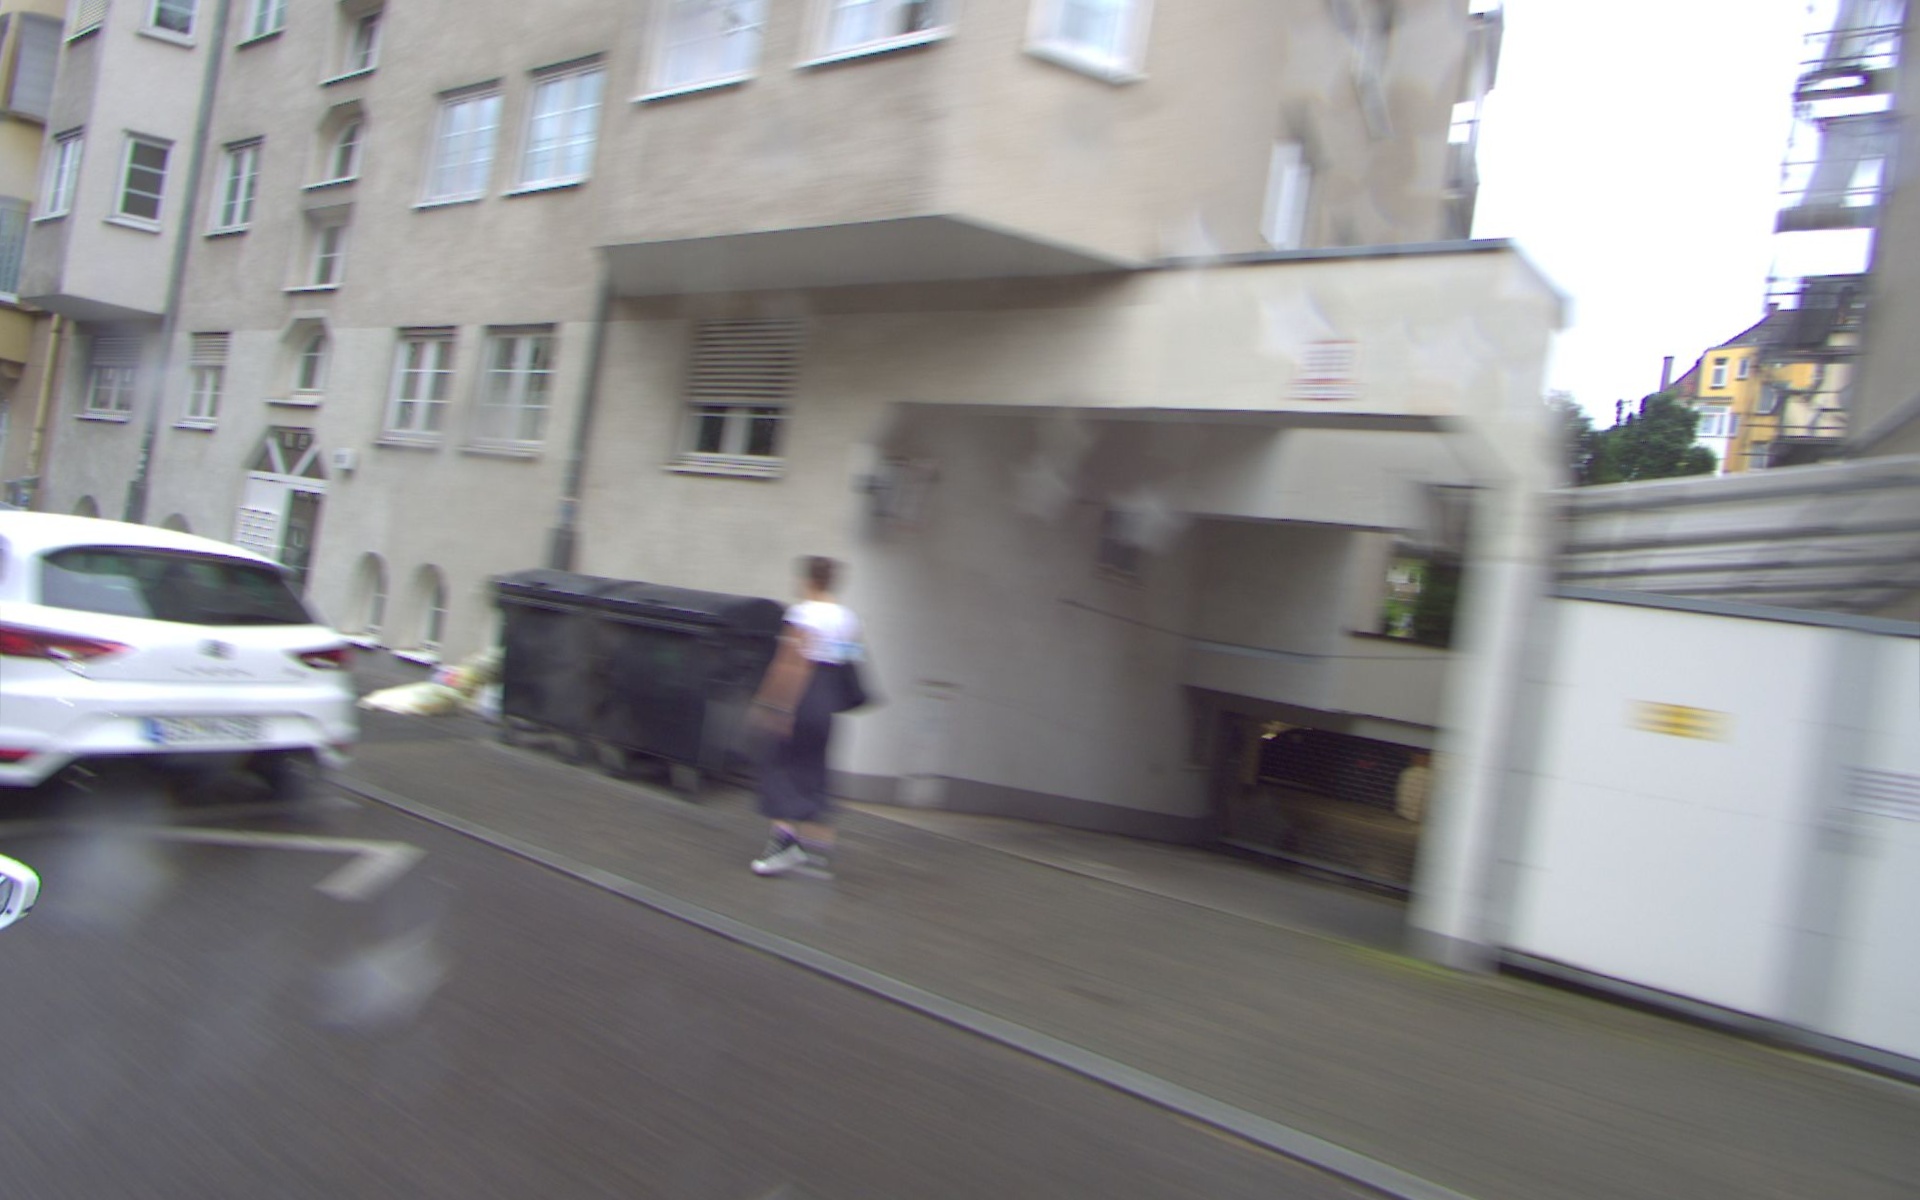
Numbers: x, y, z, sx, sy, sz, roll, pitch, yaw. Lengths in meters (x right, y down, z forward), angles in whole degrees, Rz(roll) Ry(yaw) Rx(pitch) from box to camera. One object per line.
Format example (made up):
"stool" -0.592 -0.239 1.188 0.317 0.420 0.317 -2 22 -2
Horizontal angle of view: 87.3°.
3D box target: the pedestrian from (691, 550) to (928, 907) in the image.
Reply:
"pedestrian" -0.796 0.655 5.454 0.742 1.707 0.806 6 -1 31

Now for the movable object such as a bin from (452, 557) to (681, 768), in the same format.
"movable object such as a bin" -3.205 0.496 8.230 1.301 1.485 1.020 6 -2 32

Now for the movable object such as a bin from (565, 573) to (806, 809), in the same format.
"movable object such as a bin" -2.020 0.645 7.449 1.251 1.485 0.981 6 -2 32

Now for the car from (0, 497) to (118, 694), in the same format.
"car" -9.272 -0.257 8.502 4.301 1.484 1.836 6 -2 30

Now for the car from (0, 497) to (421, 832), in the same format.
"car" -5.408 0.170 6.057 4.322 1.401 1.793 6 -2 32
